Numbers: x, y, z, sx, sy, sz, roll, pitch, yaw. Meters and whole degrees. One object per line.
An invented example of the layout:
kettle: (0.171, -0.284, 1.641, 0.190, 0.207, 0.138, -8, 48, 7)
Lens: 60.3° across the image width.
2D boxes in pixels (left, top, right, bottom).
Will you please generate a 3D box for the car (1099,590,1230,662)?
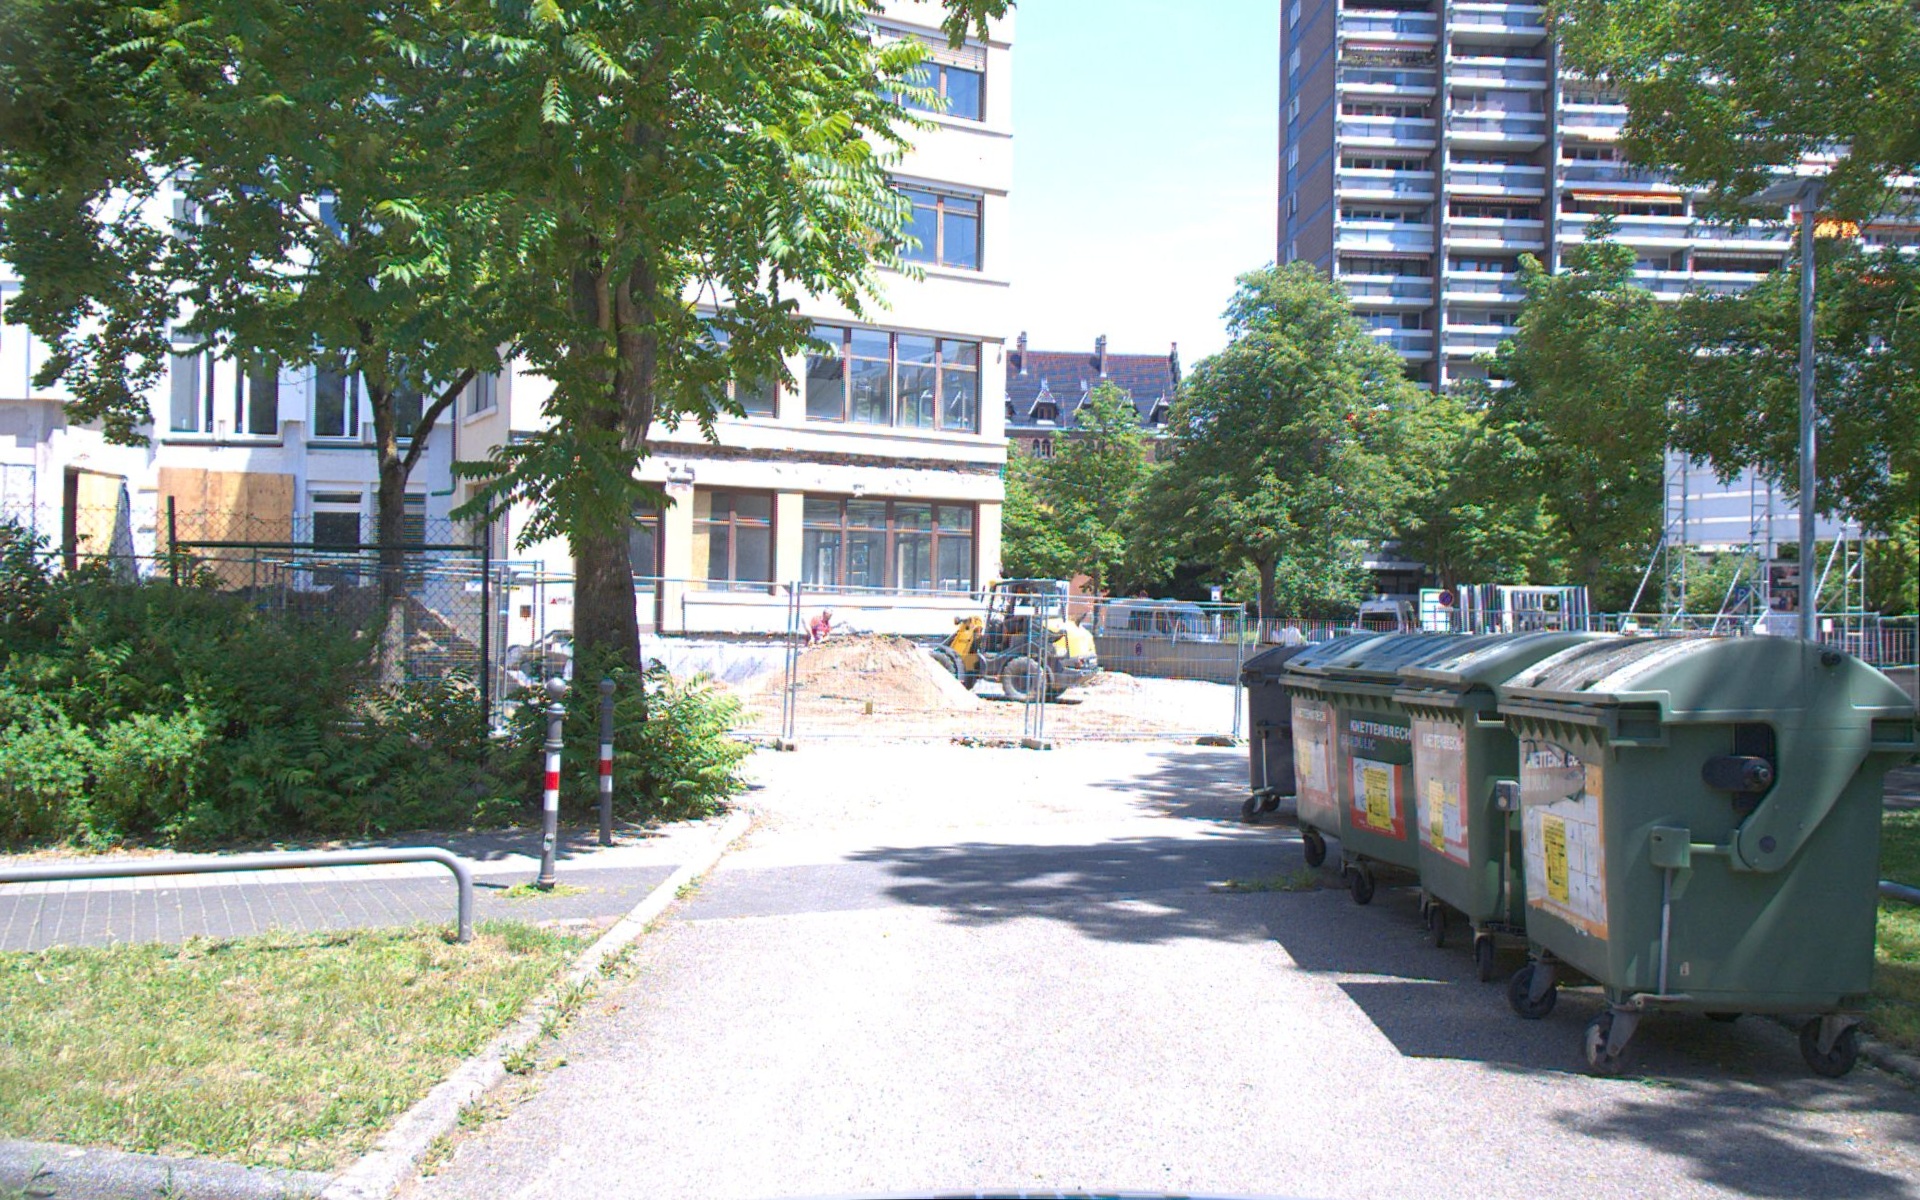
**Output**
car: (7.233, 0.930, 59.133, 1.972, 2.459, 5.191, 2, -1, -29)

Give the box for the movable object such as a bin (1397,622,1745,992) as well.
movable object such as a bin: (2.666, 0.851, 7.409, 1.053, 1.483, 1.377, 1, -1, 0)

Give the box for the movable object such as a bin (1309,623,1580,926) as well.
movable object such as a bin: (2.545, 0.874, 8.879, 1.053, 1.483, 1.377, 1, -1, 0)

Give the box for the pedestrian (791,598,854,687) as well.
pedestrian: (-2.946, 0.899, 35.354, 0.967, 1.879, 0.912, 0, -2, 39)

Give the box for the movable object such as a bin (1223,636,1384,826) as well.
movable object such as a bin: (2.836, 1.053, 13.809, 1.053, 1.483, 1.377, 1, -1, 0)

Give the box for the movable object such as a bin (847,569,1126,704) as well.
movable object such as a bin: (0.552, 0.728, 34.898, 5.297, 2.507, 2.366, 2, 0, 26)

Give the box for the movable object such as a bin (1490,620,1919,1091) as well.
movable object such as a bin: (2.659, 0.826, 5.966, 1.053, 1.483, 1.377, 1, -1, 0)

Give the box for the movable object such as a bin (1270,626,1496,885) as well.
movable object such as a bin: (2.587, 0.914, 10.301, 1.053, 1.483, 1.377, 1, -1, 0)

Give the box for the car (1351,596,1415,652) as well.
car: (18.250, 1.040, 71.263, 2.139, 2.298, 4.869, 0, -1, 21)
